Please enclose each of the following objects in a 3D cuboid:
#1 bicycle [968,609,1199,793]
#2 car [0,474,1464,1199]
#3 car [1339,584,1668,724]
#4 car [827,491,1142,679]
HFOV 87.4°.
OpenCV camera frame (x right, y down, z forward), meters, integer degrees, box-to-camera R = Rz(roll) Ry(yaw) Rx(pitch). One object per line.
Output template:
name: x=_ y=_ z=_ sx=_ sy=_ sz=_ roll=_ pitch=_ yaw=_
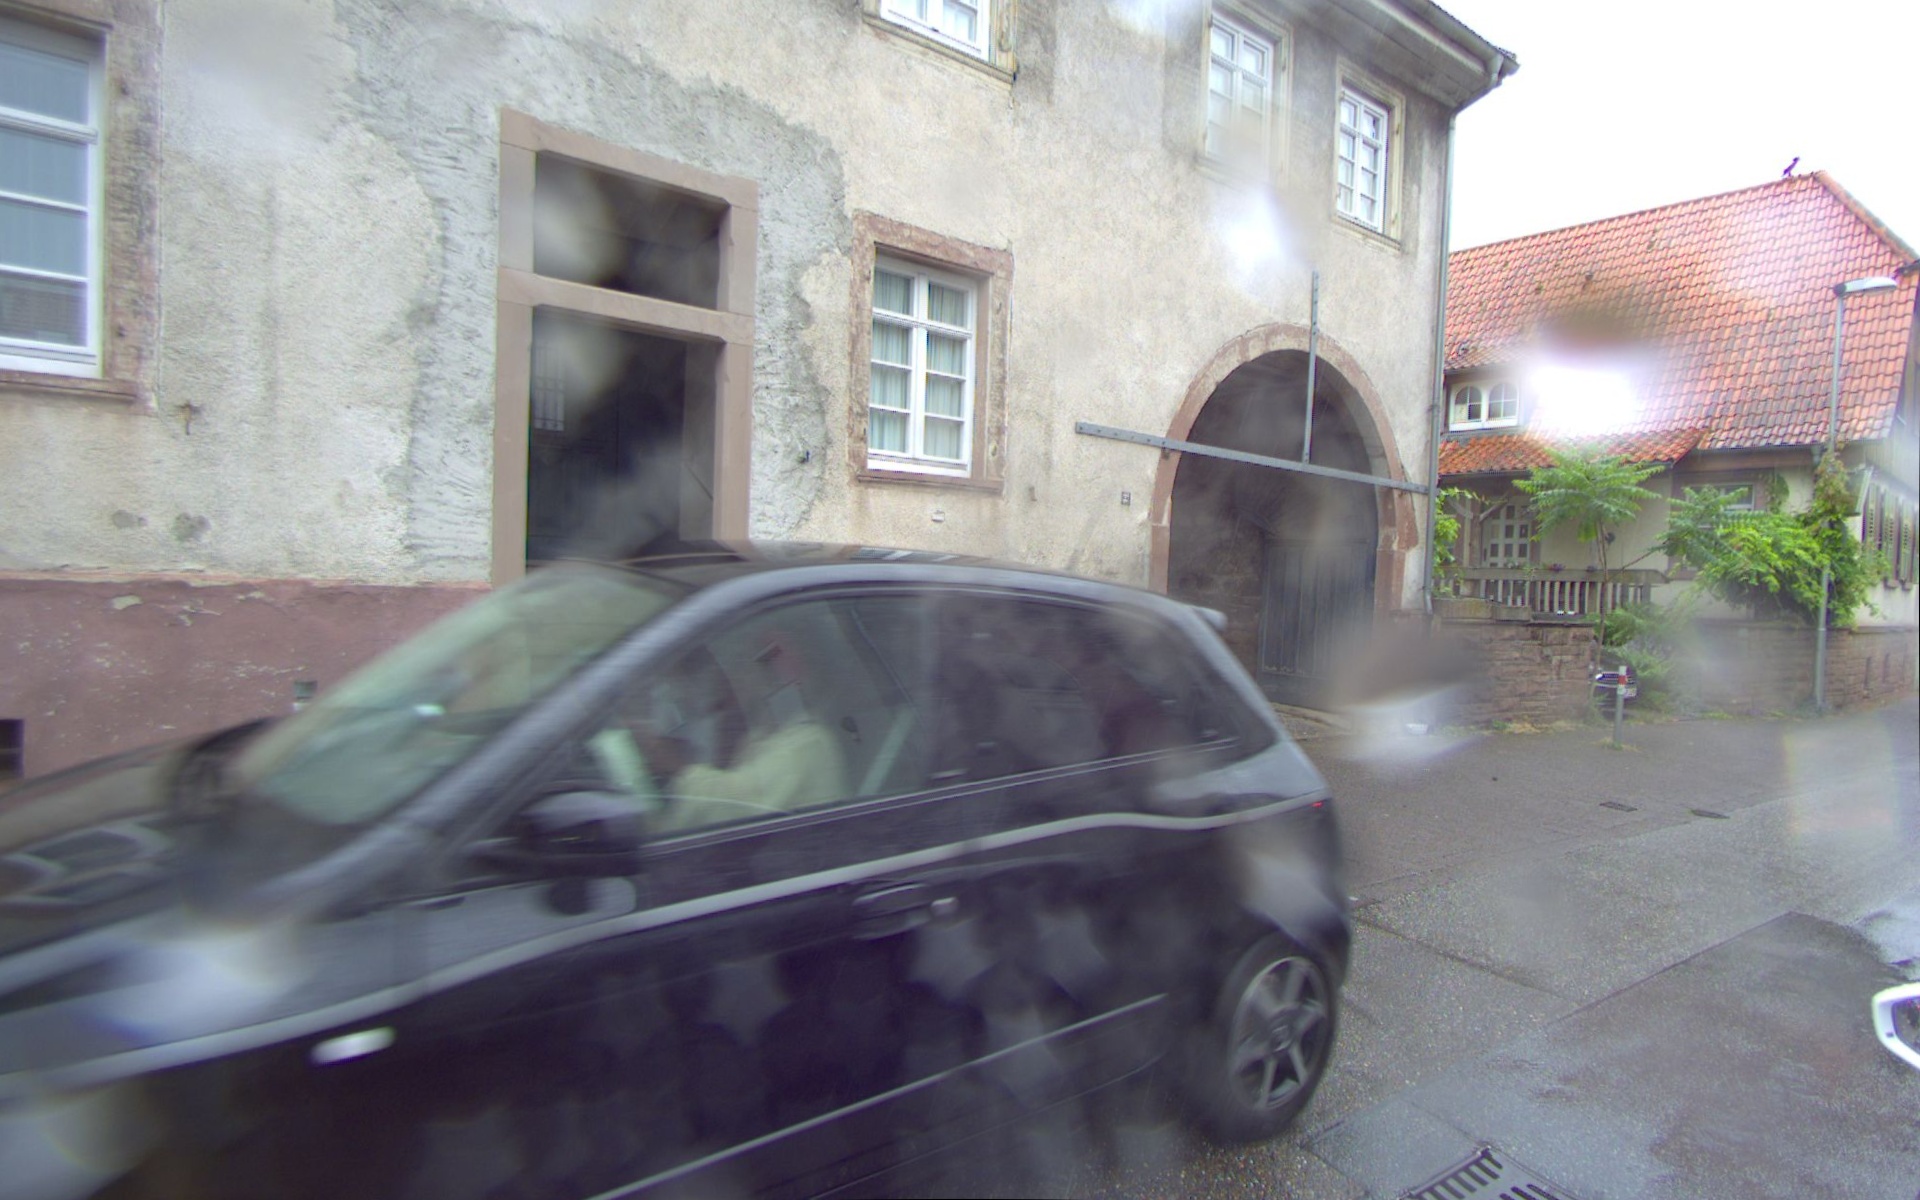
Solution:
bicycle: x=0.954 y=0.689 z=7.448 sx=1.858 sy=1.194 sz=0.478 roll=1 pitch=4 yaw=-38
car: x=-0.407 y=0.627 z=2.672 sx=3.653 sy=1.533 sz=1.593 roll=2 pitch=1 yaw=-36
car: x=7.983 y=0.705 z=15.157 sx=1.715 sy=1.444 sz=3.967 roll=2 pitch=5 yaw=-30
car: x=0.154 y=-0.302 z=13.522 sx=1.869 sy=1.957 sz=4.194 roll=6 pitch=3 yaw=-37
